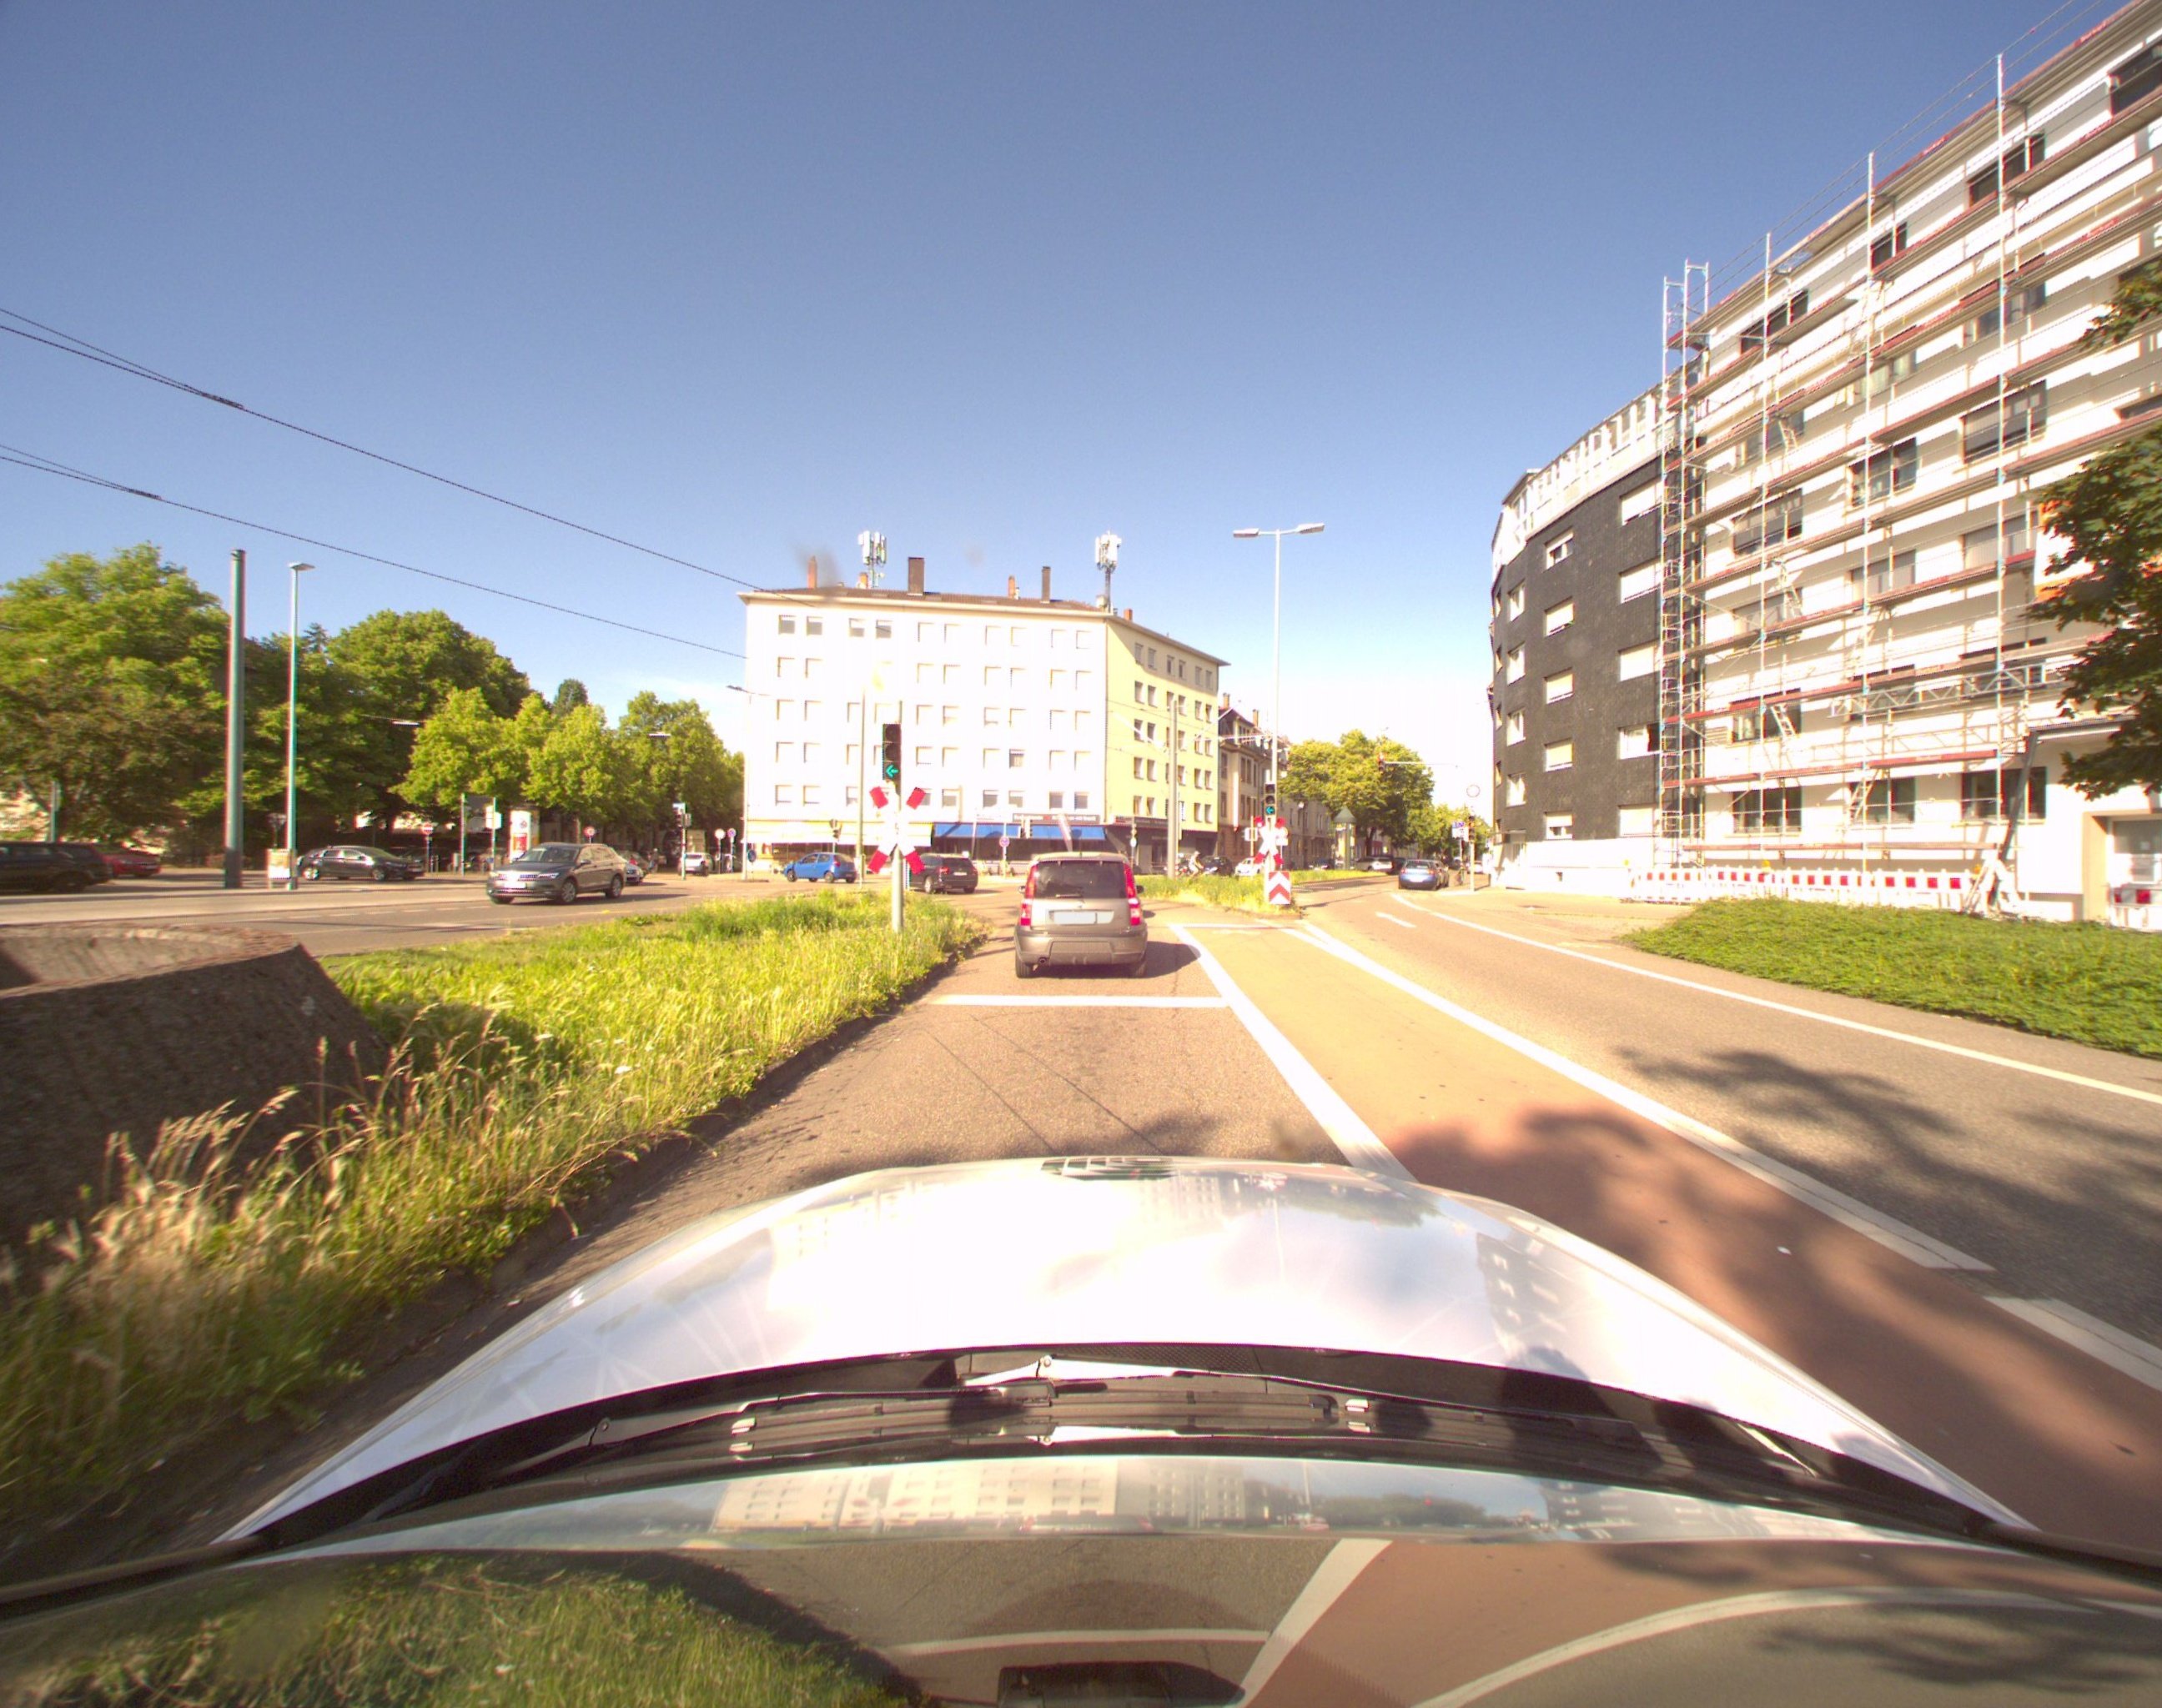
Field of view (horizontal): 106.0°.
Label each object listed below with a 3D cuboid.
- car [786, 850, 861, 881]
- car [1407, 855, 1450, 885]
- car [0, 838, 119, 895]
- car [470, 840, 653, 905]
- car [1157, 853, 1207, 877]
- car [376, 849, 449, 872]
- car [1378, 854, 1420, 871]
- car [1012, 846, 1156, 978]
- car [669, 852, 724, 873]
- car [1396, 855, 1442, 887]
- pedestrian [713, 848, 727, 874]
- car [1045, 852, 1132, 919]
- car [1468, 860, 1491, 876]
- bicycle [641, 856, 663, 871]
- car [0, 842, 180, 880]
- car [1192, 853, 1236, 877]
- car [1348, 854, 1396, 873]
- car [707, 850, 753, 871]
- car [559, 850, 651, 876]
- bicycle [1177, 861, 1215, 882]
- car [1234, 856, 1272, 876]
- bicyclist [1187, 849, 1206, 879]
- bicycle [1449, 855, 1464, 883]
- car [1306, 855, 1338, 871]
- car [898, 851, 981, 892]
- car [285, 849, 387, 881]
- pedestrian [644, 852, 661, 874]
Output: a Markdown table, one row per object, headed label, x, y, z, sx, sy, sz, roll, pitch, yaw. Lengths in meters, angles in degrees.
| label | x | y | z | sx | sy | sz | roll | pitch | yaw |
| --- | --- | --- | --- | --- | --- | --- | --- | --- | --- |
| car | -12.582 | 0.531 | 39.799 | 3.352 | 1.438 | 1.661 | 1 | 0 | 31 |
| car | 18.886 | 0.832 | 44.170 | 1.802 | 1.508 | 4.024 | 0 | 0 | 28 |
| car | -30.579 | 0.346 | 22.968 | 1.745 | 1.488 | 4.026 | 4 | 2 | 16 |
| car | -14.297 | 0.464 | 22.796 | 1.745 | 1.614 | 4.730 | 1 | 0 | 5 |
| car | 6.324 | 0.688 | 50.598 | 1.773 | 1.396 | 3.748 | 1 | 0 | 30 |
| car | -40.661 | 0.378 | 49.642 | 1.591 | 1.293 | 3.696 | 0 | 0 | -5 |
| car | 34.780 | 0.963 | 89.110 | 3.771 | 1.786 | 1.852 | 1 | 0 | 41 |
| car | -0.059 | 0.678 | 11.016 | 1.656 | 1.510 | 3.247 | 1 | 0 | -4 |
| car | -25.095 | 0.513 | 53.330 | 1.991 | 1.310 | 3.992 | 1 | 0 | -6 |
| car | 16.542 | 0.814 | 39.786 | 1.758 | 1.442 | 3.640 | 1 | 0 | 27 |
| pedestrian | -23.469 | 0.454 | 52.906 | 0.795 | 1.621 | 0.822 | 0 | 0 | -27 |
| car | 0.094 | 0.681 | 19.446 | 1.619 | 1.429 | 3.679 | 1 | 0 | -7 |
| car | 43.930 | 1.558 | 89.776 | 1.975 | 1.618 | 4.024 | 1 | -1 | 30 |
| bicycle | -28.003 | 0.622 | 53.180 | 0.783 | 0.951 | 1.848 | 2 | -1 | -13 |
| car | -40.434 | 0.294 | 33.240 | 4.544 | 1.489 | 1.743 | 1 | 0 | -20 |
| car | 9.152 | 0.743 | 55.775 | 1.773 | 1.565 | 3.789 | 1 | 0 | 30 |
| car | 25.512 | 0.850 | 71.453 | 1.910 | 1.594 | 3.975 | 1 | 0 | -18 |
| car | -26.327 | 0.493 | 61.156 | 1.932 | 1.513 | 3.934 | 1 | 0 | -4 |
| car | -23.976 | 0.429 | 41.148 | 3.615 | 1.253 | 1.690 | 1 | 0 | -11 |
| bicycle | 5.897 | 0.913 | 41.847 | 1.834 | 1.032 | 0.593 | 1 | 0 | 27 |
| car | 13.122 | 0.900 | 61.954 | 1.773 | 1.483 | 3.553 | 1 | 0 | 30 |
| bicyclist | 5.935 | 0.511 | 41.830 | 0.813 | 1.559 | 0.565 | 0 | 0 | 27 |
| bicycle | 20.819 | 0.828 | 45.112 | 0.568 | 1.511 | 2.824 | 0 | 0 | 28 |
| car | 23.118 | 0.850 | 78.134 | 1.974 | 1.473 | 4.025 | 1 | 0 | 31 |
| car | -5.531 | 0.630 | 31.468 | 1.771 | 1.486 | 4.251 | 1 | 0 | -31 |
| car | -40.248 | 0.539 | 44.148 | 1.756 | 1.617 | 4.222 | 1 | 0 | -3 |
| pedestrian | -28.023 | 0.576 | 53.288 | 0.774 | 1.427 | 0.934 | 1 | 0 | -13 |
